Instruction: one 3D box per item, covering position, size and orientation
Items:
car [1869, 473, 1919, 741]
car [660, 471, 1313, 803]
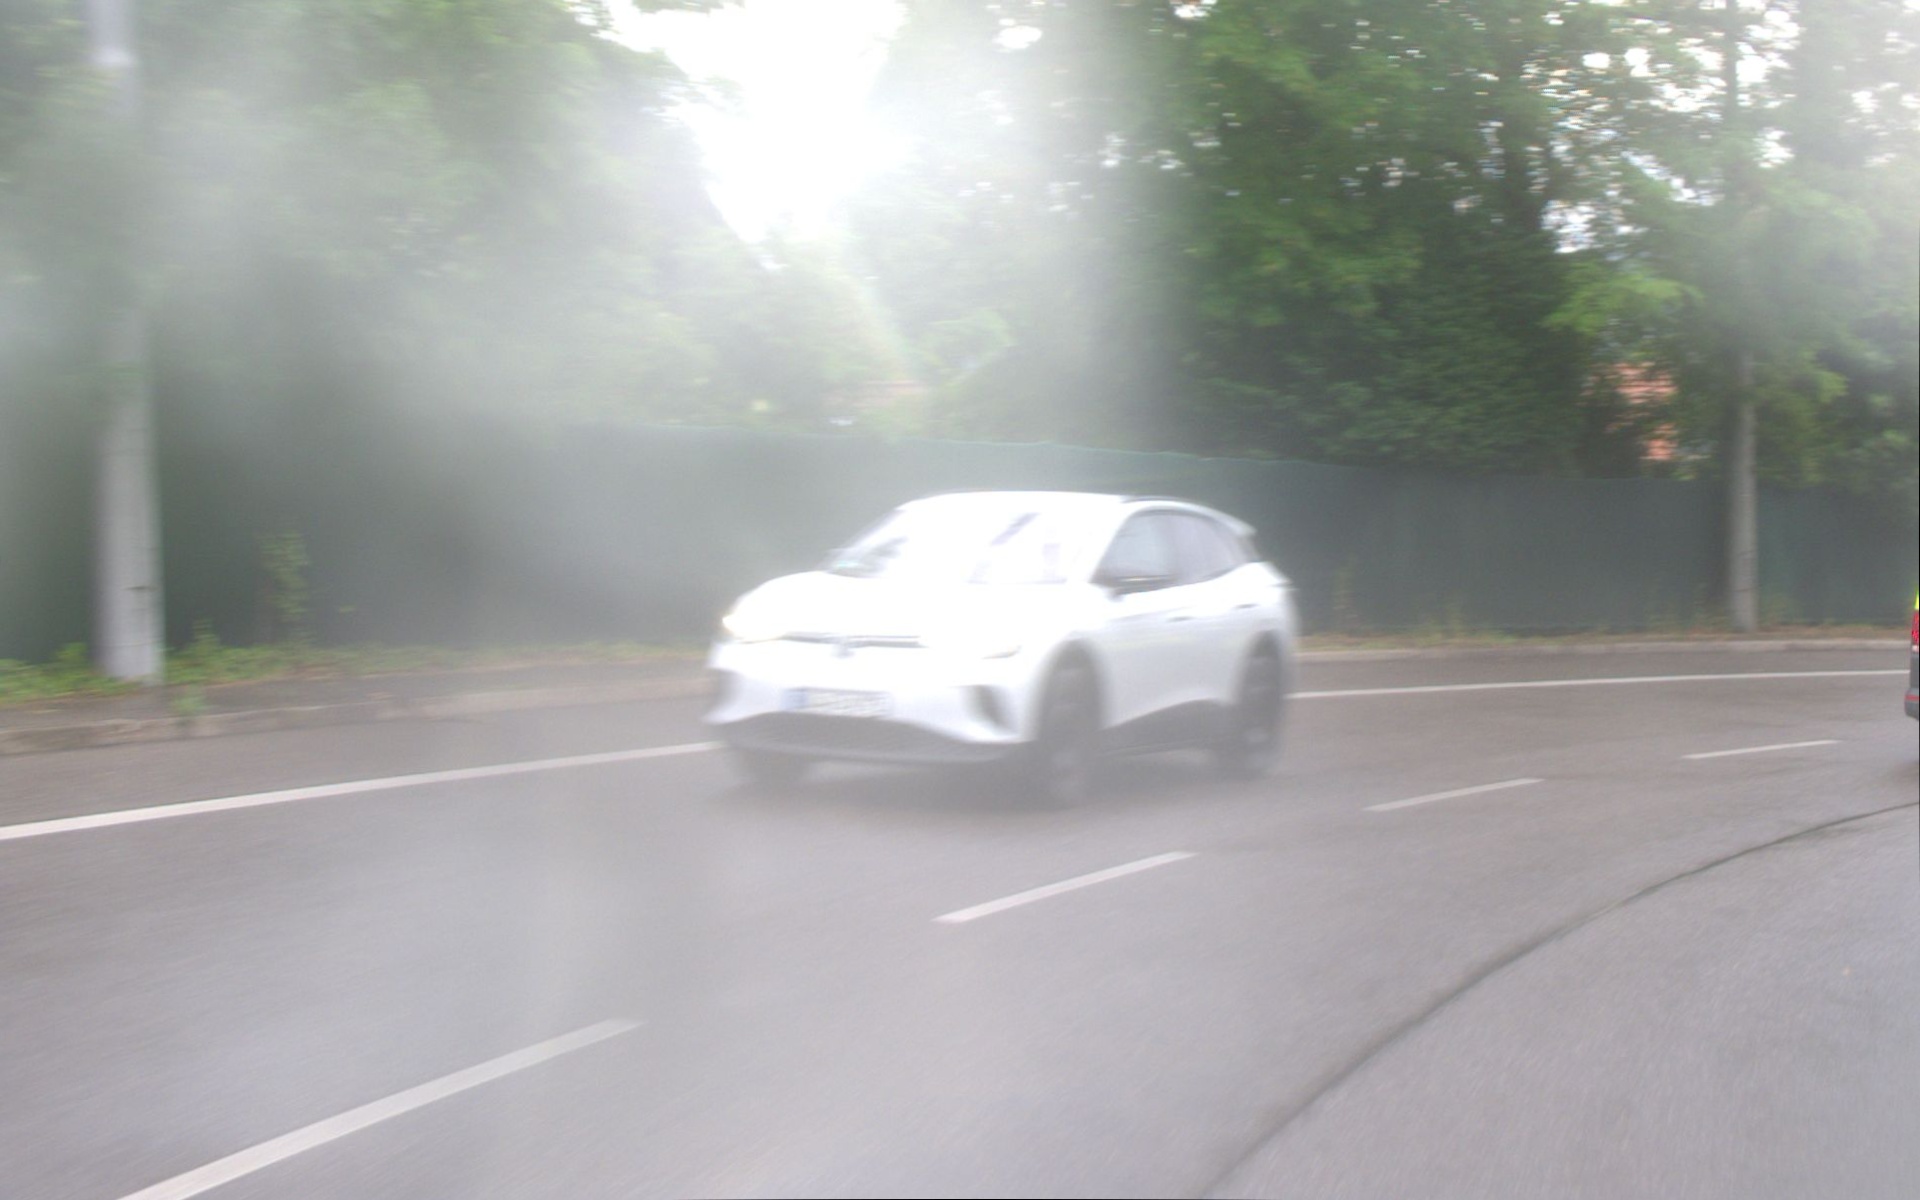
[{"bbox_3d":[8.746,0.141,25.741,1.998,1.887,4.560,5,2,38],"label":"car"},{"bbox_3d":[0.287,0.121,18.903,1.828,1.601,4.279,0,2,27],"label":"car"}]
